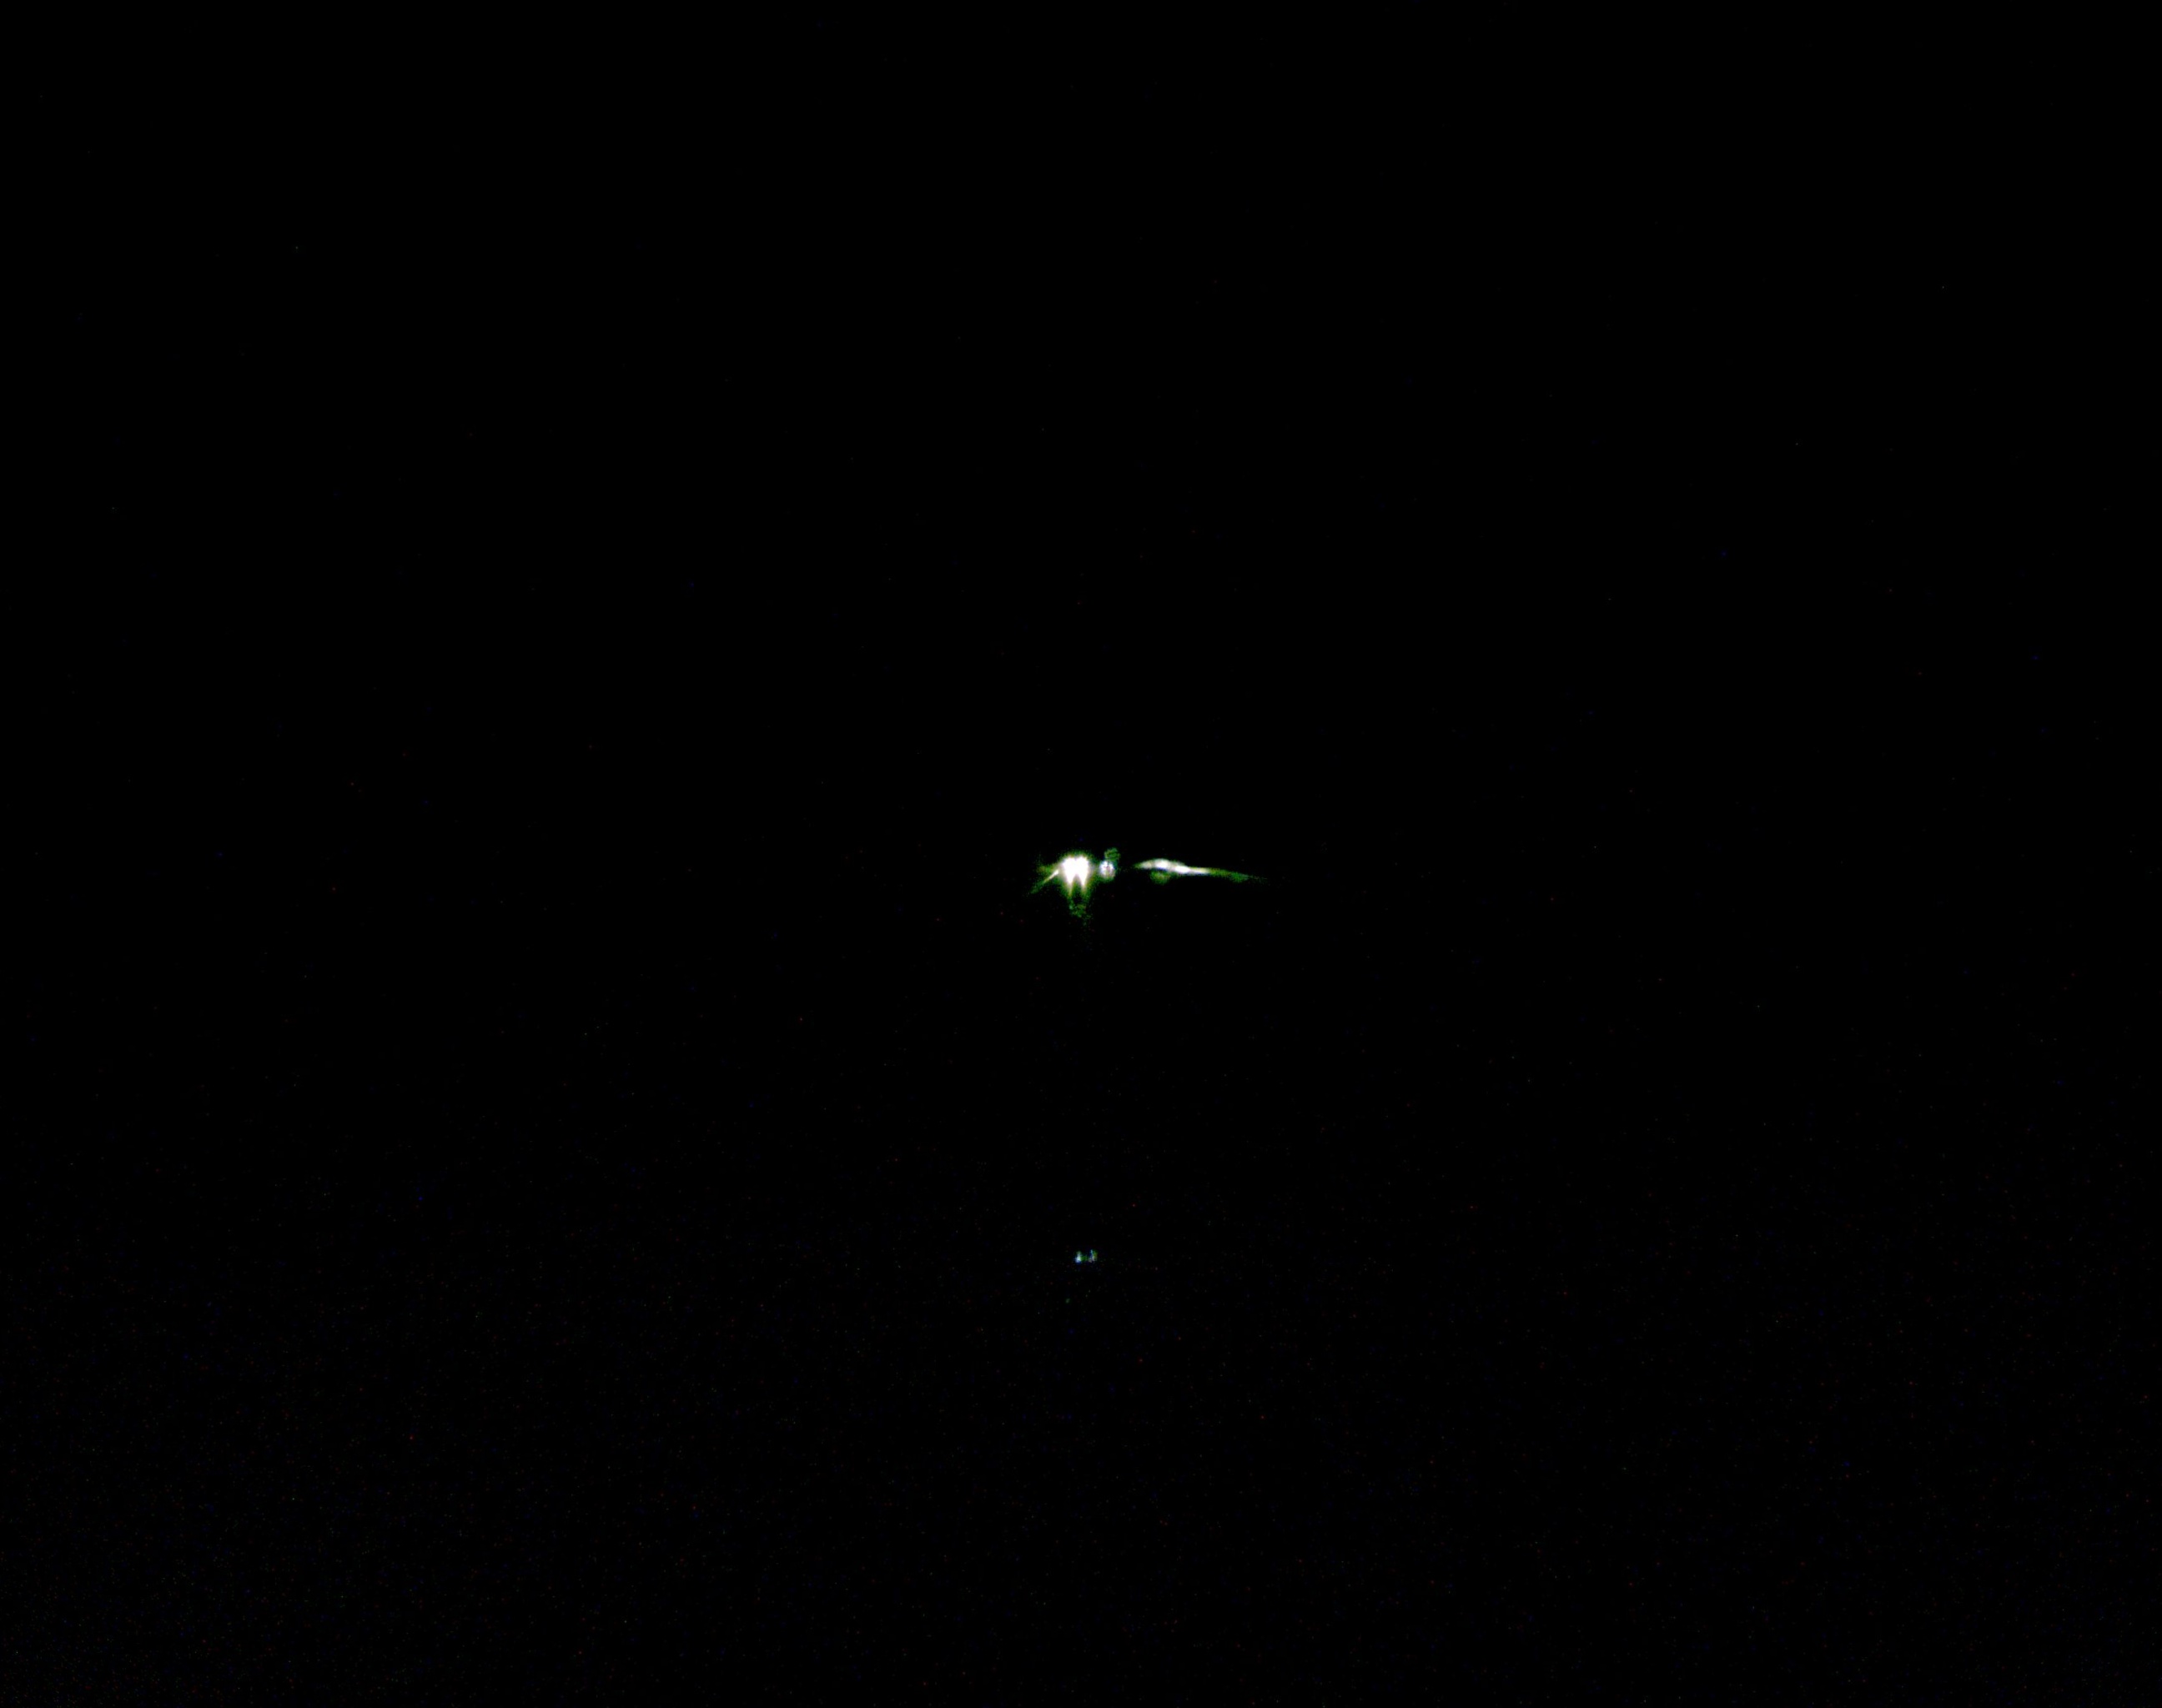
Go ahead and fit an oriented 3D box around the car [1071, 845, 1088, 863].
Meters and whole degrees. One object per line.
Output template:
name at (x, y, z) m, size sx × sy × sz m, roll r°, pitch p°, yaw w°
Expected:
car at (-0.219, -0.034, 94.429) m, size 1.998 × 2.003 × 3.997 m, roll -2°, pitch 3°, yaw 0°
